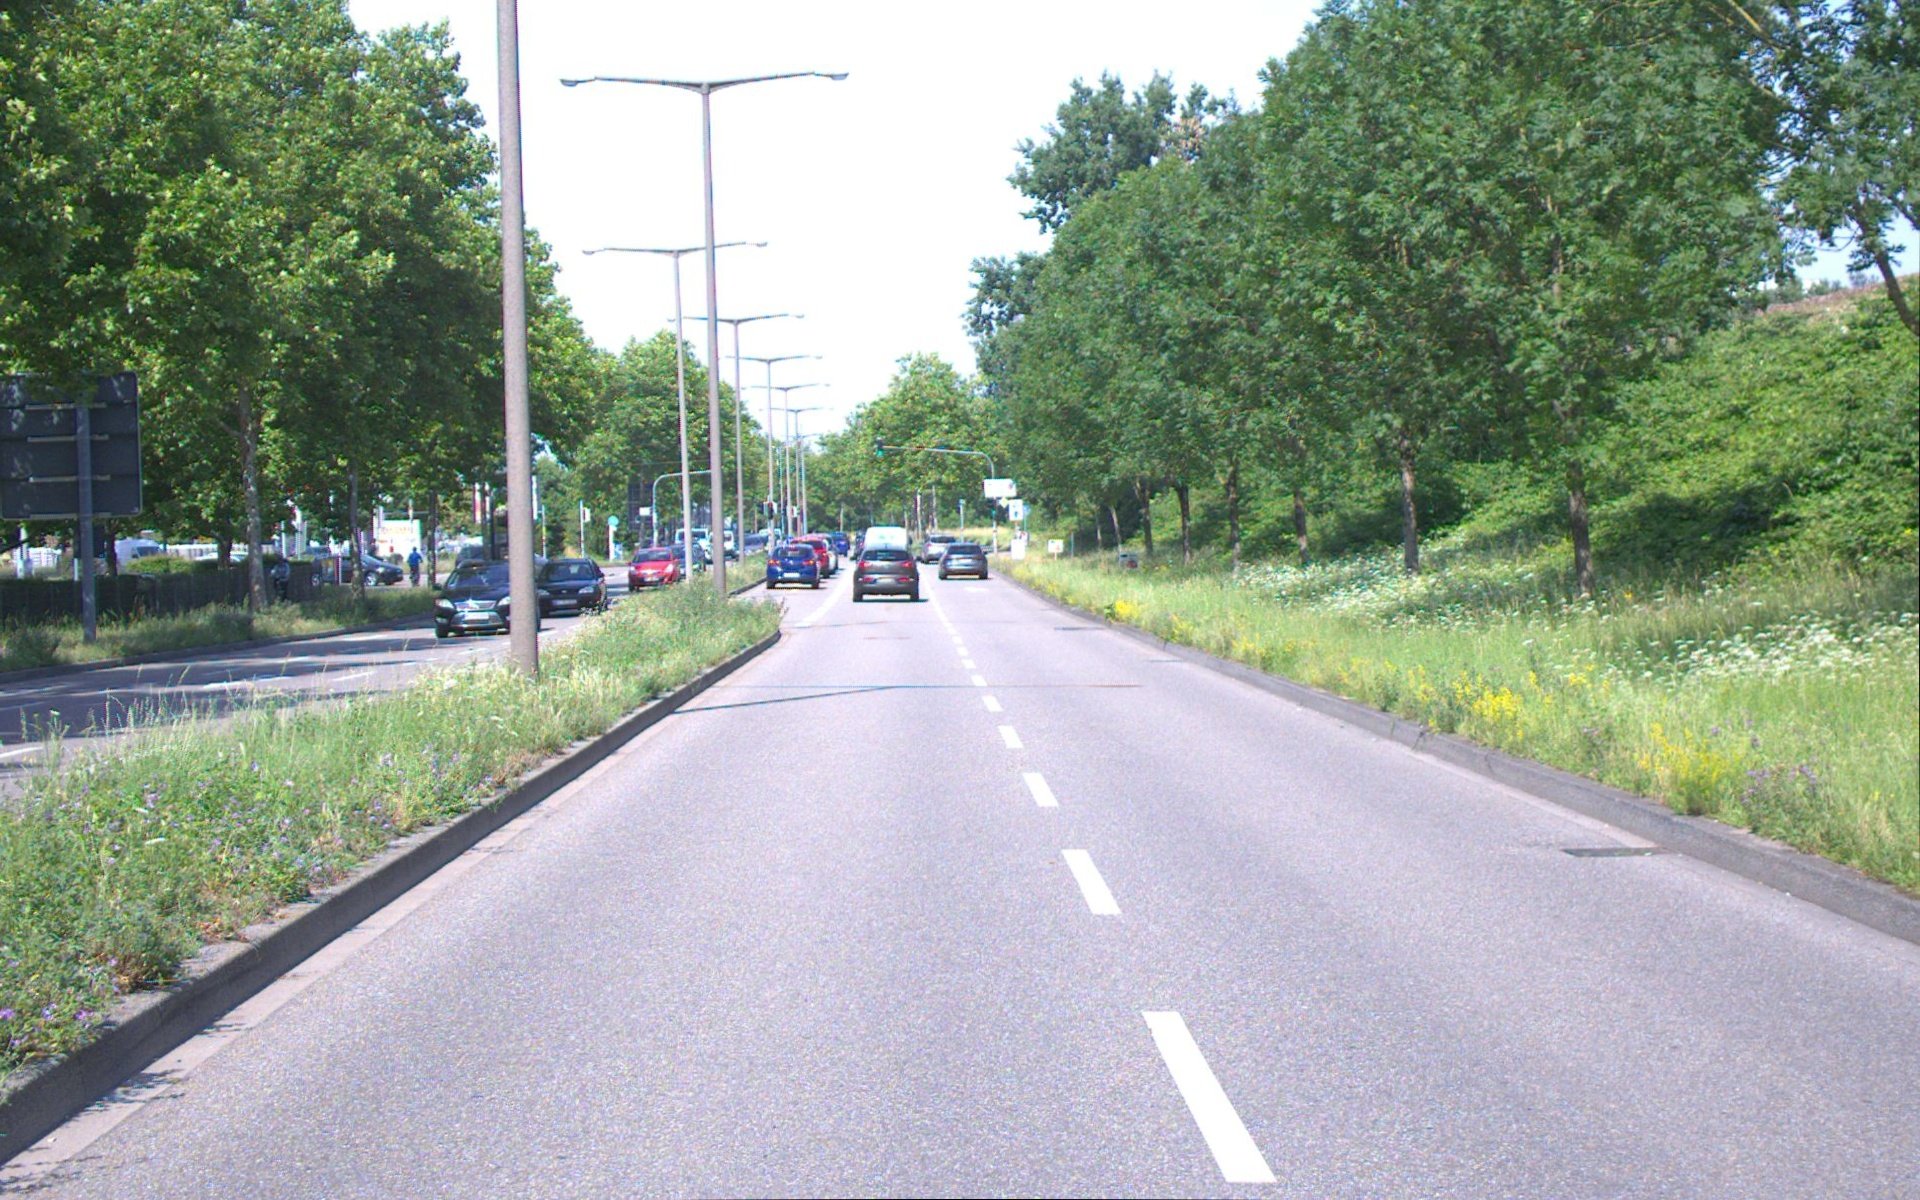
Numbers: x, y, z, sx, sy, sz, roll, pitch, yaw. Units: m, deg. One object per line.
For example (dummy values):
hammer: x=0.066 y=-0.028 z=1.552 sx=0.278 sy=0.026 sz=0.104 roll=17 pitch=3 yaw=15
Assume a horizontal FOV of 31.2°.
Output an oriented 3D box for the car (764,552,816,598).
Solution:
car: x=-5.667 y=-0.848 z=115.027 sx=1.626 sy=1.478 sz=4.049 roll=1 pitch=1 yaw=-2

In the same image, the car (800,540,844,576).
car: x=-5.781 y=-1.762 z=144.162 sx=1.766 sy=1.474 sz=4.136 roll=0 pitch=1 yaw=-1

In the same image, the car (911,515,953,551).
car: x=-1.405 y=-3.303 z=169.666 sx=1.993 sy=1.702 sz=4.263 roll=-1 pitch=1 yaw=-1

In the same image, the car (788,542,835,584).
car: x=-5.817 y=-1.475 z=135.181 sx=1.782 sy=1.587 sz=4.594 roll=0 pitch=1 yaw=-1

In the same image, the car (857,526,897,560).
car: x=-4.137 y=-2.863 z=172.638 sx=1.934 sy=1.641 sz=4.000 roll=-1 pitch=1 yaw=-1

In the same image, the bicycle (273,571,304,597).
bicycle: x=-22.766 y=-0.552 z=116.553 sx=0.689 sy=0.863 sz=1.926 roll=-2 pitch=1 yaw=-1

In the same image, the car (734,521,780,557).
car: x=-9.777 y=-2.937 z=166.100 sx=1.993 sy=1.702 sz=4.263 roll=-1 pitch=1 yaw=-1

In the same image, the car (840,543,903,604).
car: x=-2.485 y=-0.768 z=97.474 sx=1.736 sy=1.530 sz=4.001 roll=-1 pitch=3 yaw=-1

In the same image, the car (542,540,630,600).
car: x=-9.678 y=-0.790 z=89.288 sx=1.772 sy=1.462 sz=4.671 roll=-2 pitch=1 yaw=0

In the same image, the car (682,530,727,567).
car: x=-13.620 y=-2.759 z=183.399 sx=2.116 sy=1.877 sz=5.420 roll=-2 pitch=1 yaw=-2

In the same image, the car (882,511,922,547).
car: x=-3.293 y=-4.013 z=195.708 sx=1.993 sy=2.007 sz=4.001 roll=-1 pitch=1 yaw=-5

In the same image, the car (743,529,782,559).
car: x=-12.095 y=-3.450 z=210.939 sx=1.993 sy=1.769 sz=4.000 roll=-1 pitch=1 yaw=2

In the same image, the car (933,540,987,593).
car: x=-0.030 y=-1.322 z=132.287 sx=2.018 sy=1.831 sz=4.001 roll=-1 pitch=3 yaw=-1

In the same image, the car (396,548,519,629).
car: x=-9.707 y=-0.249 z=66.681 sx=1.827 sy=1.462 sz=4.989 roll=-1 pitch=1 yaw=-2

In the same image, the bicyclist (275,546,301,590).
bicyclist: x=-22.779 y=-1.087 z=116.518 sx=0.681 sy=1.480 sz=0.942 roll=-2 pitch=1 yaw=-1

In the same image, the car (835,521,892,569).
car: x=-3.460 y=-2.006 z=124.019 sx=1.993 sy=1.678 sz=4.001 roll=-1 pitch=1 yaw=-1

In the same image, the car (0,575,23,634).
car: x=-26.215 y=0.160 z=87.914 sx=3.987 sy=1.459 sz=1.772 roll=-2 pitch=1 yaw=0

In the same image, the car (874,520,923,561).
car: x=-2.576 y=-2.515 z=145.327 sx=1.993 sy=1.702 sz=4.263 roll=-1 pitch=1 yaw=-1

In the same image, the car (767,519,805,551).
car: x=-10.329 y=-3.873 z=204.507 sx=1.993 sy=1.853 sz=4.000 roll=-1 pitch=1 yaw=0

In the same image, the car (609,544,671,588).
car: x=-11.328 y=-1.209 z=121.889 sx=1.763 sy=1.457 sz=4.000 roll=-2 pitch=1 yaw=0

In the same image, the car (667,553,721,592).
car: x=-10.427 y=-1.082 z=134.783 sx=1.839 sy=1.473 sz=4.166 roll=-2 pitch=1 yaw=-1

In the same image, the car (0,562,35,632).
car: x=-26.823 y=-0.077 z=91.115 sx=3.987 sy=1.816 sz=2.156 roll=0 pitch=0 yaw=3
